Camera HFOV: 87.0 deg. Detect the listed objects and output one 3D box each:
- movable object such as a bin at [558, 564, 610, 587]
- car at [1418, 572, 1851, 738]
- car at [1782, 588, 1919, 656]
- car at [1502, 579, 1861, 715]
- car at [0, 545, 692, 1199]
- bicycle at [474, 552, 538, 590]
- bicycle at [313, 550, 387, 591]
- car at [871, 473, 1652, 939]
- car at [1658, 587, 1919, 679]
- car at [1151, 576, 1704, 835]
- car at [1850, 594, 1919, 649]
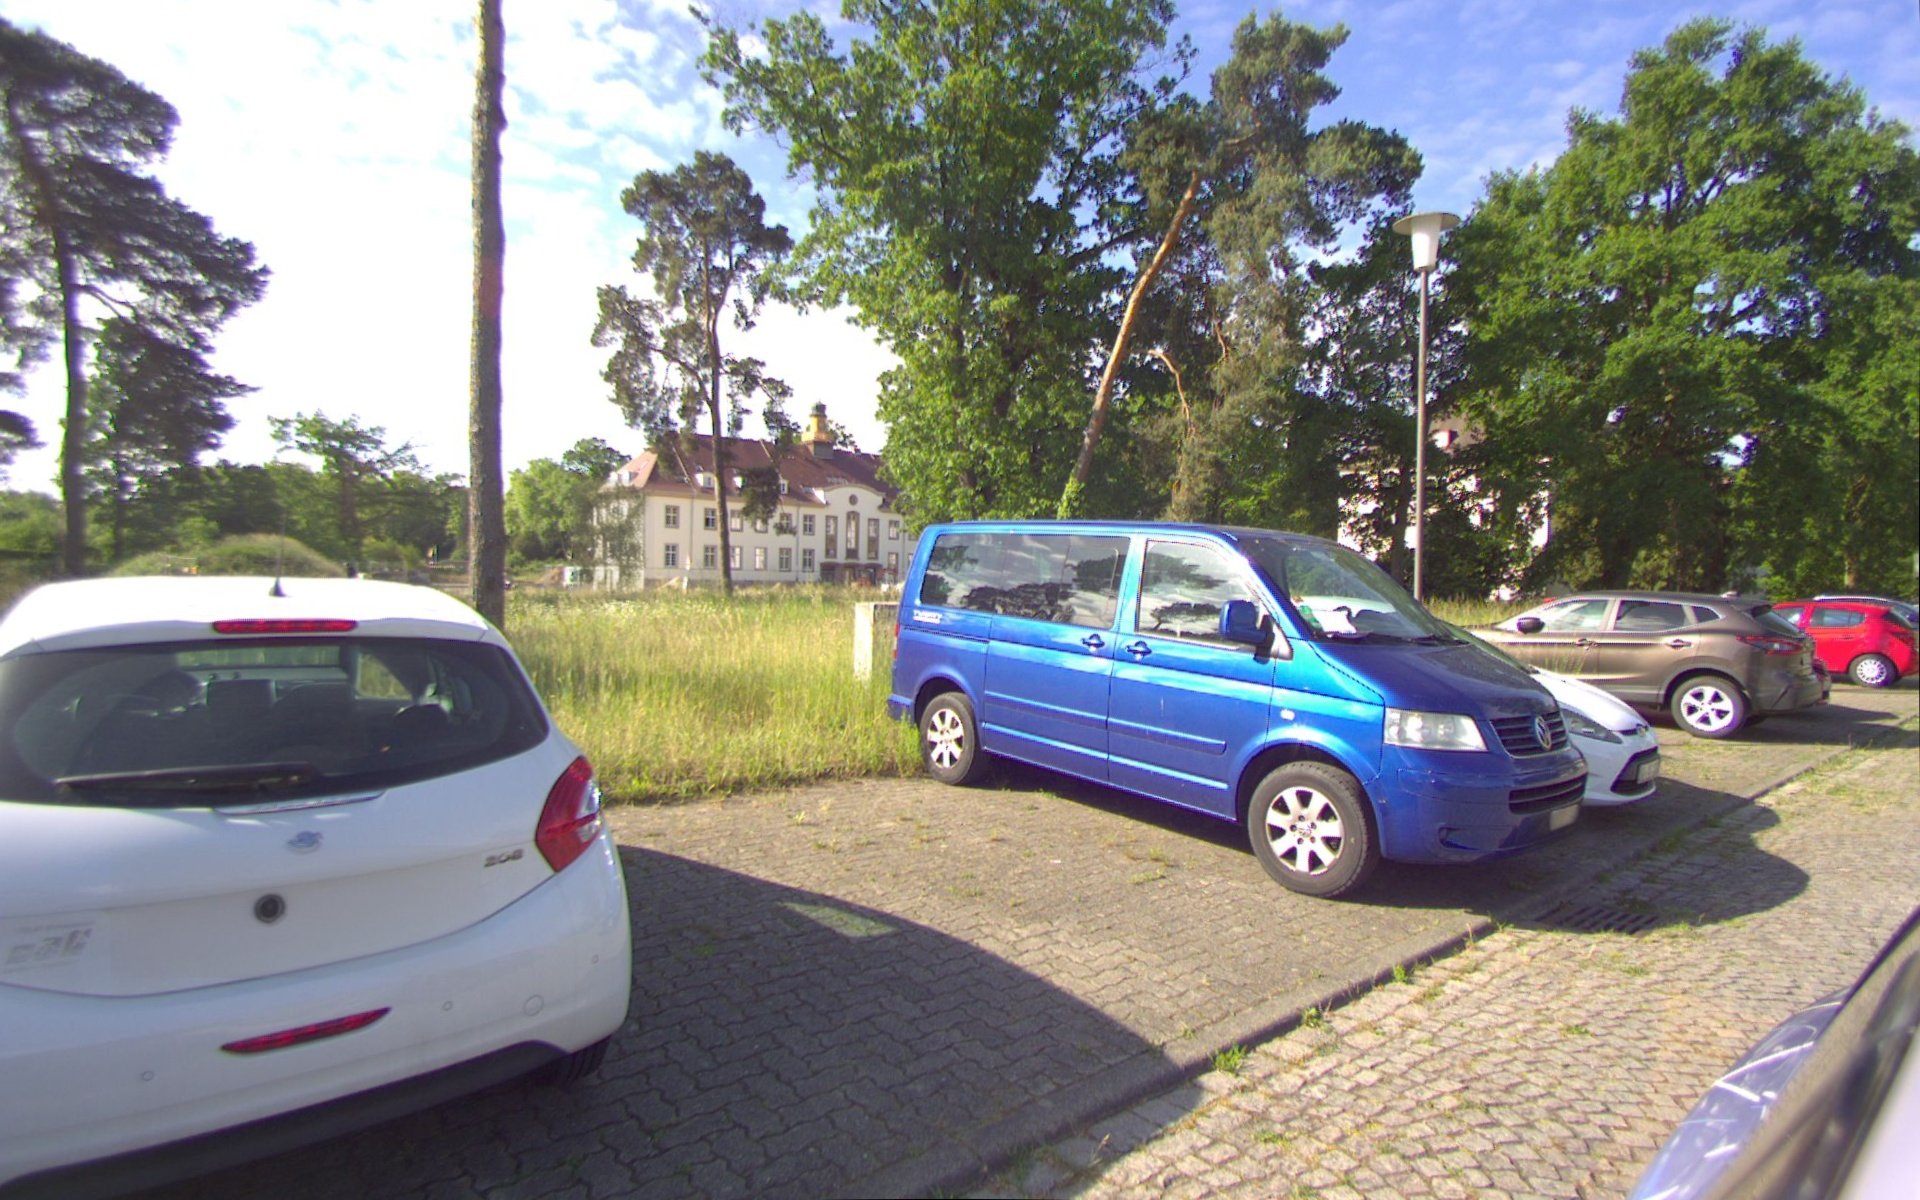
[{"bbox_3d":[-34.998,-2.308,94.040,5.715,2.038,2.092,2,2,41],"label":"movable object such as a bin"},{"bbox_3d":[8.129,0.519,12.510,1.755,1.631,4.115,0,2,-41],"label":"car"},{"bbox_3d":[23.628,0.538,25.501,1.622,1.618,4.272,0,1,-39],"label":"car"},{"bbox_3d":[10.137,0.547,14.459,1.672,1.557,3.835,0,2,-39],"label":"car"},{"bbox_3d":[-2.488,0.590,3.646,1.605,1.510,3.654,0,2,-39],"label":"car"},{"bbox_3d":[-24.811,-1.620,55.348,3.077,2.038,0.952,-2,3,-41],"label":"bicycle"},{"bbox_3d":[-30.902,-1.524,51.288,3.077,2.038,0.952,-2,3,-41],"label":"bicycle"},{"bbox_3d":[1.557,0.317,6.885,1.964,2.038,4.768,0,3,-39],"label":"car"},{"bbox_3d":[15.787,0.550,19.128,1.513,1.514,3.996,0,1,-39],"label":"car"},{"bbox_3d":[3.553,0.621,8.226,1.582,1.484,3.727,0,3,-41],"label":"car"},{"bbox_3d":[27.461,0.621,28.140,1.715,1.484,3.810,0,1,-38],"label":"car"}]
